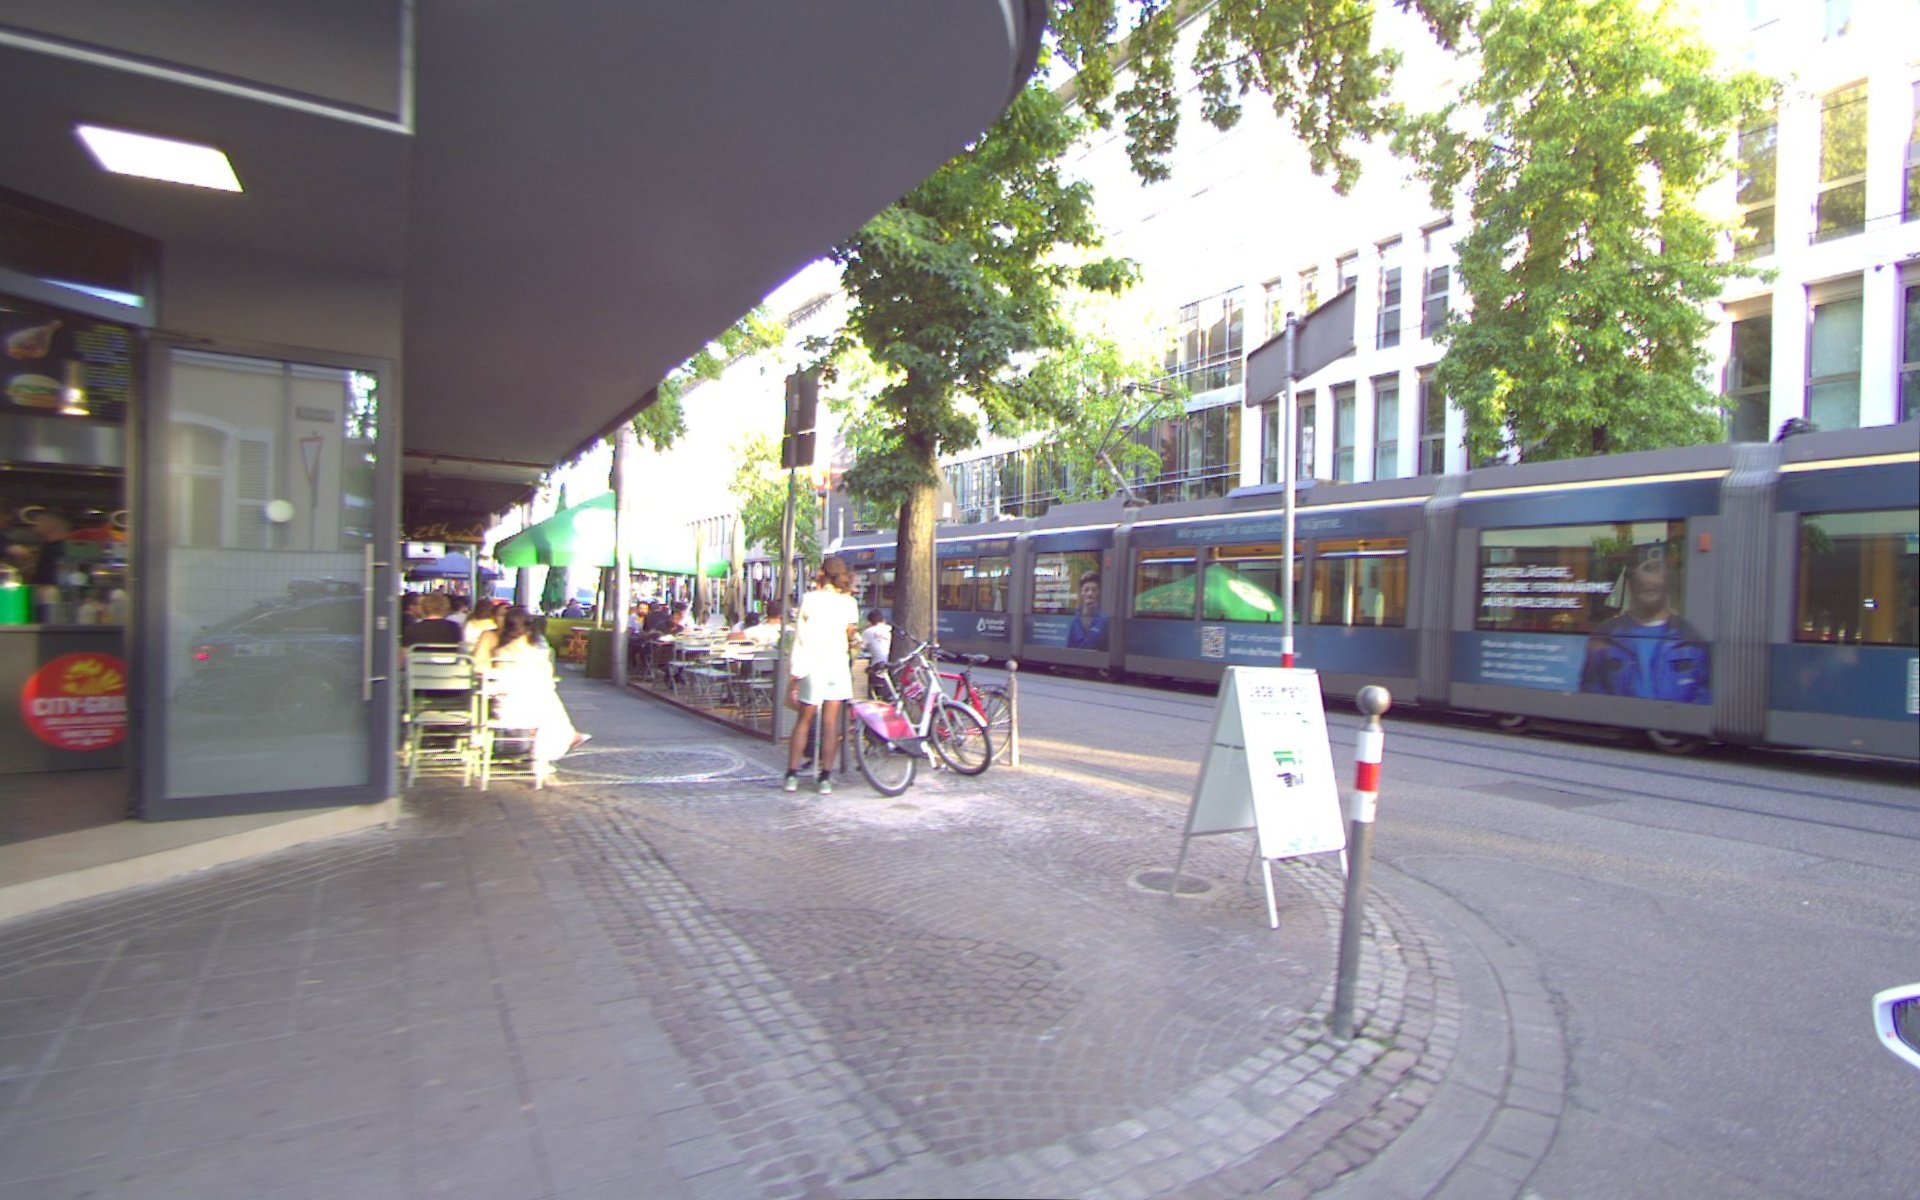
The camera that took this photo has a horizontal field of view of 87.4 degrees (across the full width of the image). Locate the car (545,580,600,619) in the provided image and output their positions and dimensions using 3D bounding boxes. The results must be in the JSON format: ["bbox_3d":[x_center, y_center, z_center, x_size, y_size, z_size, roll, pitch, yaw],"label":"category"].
[{"bbox_3d":[-21.225,-0.043,54.917,1.977,2.003,4.809,1,0,-31],"label":"car"}]

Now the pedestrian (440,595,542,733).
[{"bbox_3d":[-4.819,0.635,10.320,0.877,1.337,0.875,2,-1,-27],"label":"pedestrian"}]

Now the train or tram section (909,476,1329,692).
[{"bbox_3d":[2.678,-0.244,22.023,2.978,3.570,10.757,2,-1,-30],"label":"train or tram section"}]

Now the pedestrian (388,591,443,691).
[{"bbox_3d":[-7.842,0.586,14.468,0.649,1.396,0.759,2,-1,-30],"label":"pedestrian"}]

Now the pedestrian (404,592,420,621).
[{"bbox_3d":[-24.575,0.287,45.033,0.507,1.258,0.655,5,-2,-30],"label":"pedestrian"}]

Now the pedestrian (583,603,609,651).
[{"bbox_3d":[-9.888,0.736,27.266,0.546,1.283,0.636,2,-1,-30],"label":"pedestrian"}]

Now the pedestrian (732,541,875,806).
[{"bbox_3d":[-1.108,0.496,7.190,0.630,1.764,0.780,1,-1,29],"label":"pedestrian"}]

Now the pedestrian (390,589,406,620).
[{"bbox_3d":[-26.213,0.200,46.860,0.438,1.391,0.603,4,-2,-21],"label":"pedestrian"}]

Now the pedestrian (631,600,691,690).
[{"bbox_3d":[-4.757,0.700,15.947,0.709,1.380,0.918,2,-1,-28],"label":"pedestrian"}]

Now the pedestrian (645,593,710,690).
[{"bbox_3d":[-4.203,0.605,14.912,0.709,1.380,1.004,2,-1,-28],"label":"pedestrian"}]

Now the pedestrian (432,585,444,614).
[{"bbox_3d":[-26.595,0.000,51.170,0.505,1.452,0.607,3,-1,-28],"label":"pedestrian"}]

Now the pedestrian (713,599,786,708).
[{"bbox_3d":[-2.800,0.695,13.325,0.709,1.380,0.865,2,-1,-28],"label":"pedestrian"}]

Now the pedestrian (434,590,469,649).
[{"bbox_3d":[-11.923,0.453,23.548,0.649,1.348,0.759,2,-1,-30],"label":"pedestrian"}]

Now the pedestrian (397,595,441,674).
[{"bbox_3d":[-9.850,0.623,18.282,0.649,1.396,0.759,2,-1,-30],"label":"pedestrian"}]

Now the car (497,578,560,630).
[{"bbox_3d":[-16.811,0.189,39.048,1.778,1.842,4.482,3,-2,-28],"label":"car"}]

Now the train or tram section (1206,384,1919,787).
[{"bbox_3d":[7.941,-0.096,12.848,2.982,3.570,10.318,2,-1,-30],"label":"train or tram section"}]

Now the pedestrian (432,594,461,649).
[{"bbox_3d":[-13.235,0.553,25.895,0.600,1.396,0.643,2,-1,-30],"label":"pedestrian"}]

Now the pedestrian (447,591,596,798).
[{"bbox_3d":[-3.107,0.631,7.091,0.877,1.337,0.875,2,-1,-27],"label":"pedestrian"}]

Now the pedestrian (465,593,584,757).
[{"bbox_3d":[-3.824,0.628,8.798,0.877,1.337,0.875,2,-1,-27],"label":"pedestrian"}]

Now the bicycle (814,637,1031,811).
[{"bbox_3d":[-0.230,0.879,7.809,0.767,1.154,1.863,1,-1,32],"label":"bicycle"}]

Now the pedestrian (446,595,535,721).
[{"bbox_3d":[-5.273,0.636,11.284,0.839,1.337,0.876,2,-1,-26],"label":"pedestrian"}]

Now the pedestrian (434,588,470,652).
[{"bbox_3d":[-11.407,0.447,22.563,0.649,1.396,0.759,2,-1,-30],"label":"pedestrian"}]

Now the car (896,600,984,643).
[{"bbox_3d":[-0.749,0.855,41.923,1.842,1.584,4.338,0,1,27],"label":"car"}]

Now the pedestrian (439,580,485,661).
[{"bbox_3d":[-8.809,0.367,17.772,0.649,1.396,0.759,2,-1,-30],"label":"pedestrian"}]

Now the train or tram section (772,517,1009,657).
[{"bbox_3d":[-2.606,-0.300,31.220,3.019,3.570,10.446,3,-1,-30],"label":"train or tram section"}]

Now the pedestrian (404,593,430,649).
[{"bbox_3d":[-13.860,0.542,25.617,0.533,1.396,0.674,2,-1,-30],"label":"pedestrian"}]

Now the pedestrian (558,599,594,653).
[{"bbox_3d":[-9.299,0.622,24.307,0.702,1.281,0.595,2,-1,-30],"label":"pedestrian"}]

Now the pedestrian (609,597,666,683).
[{"bbox_3d":[-5.390,0.649,16.764,0.709,1.380,1.004,2,-1,-28],"label":"pedestrian"}]

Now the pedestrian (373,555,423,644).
[{"bbox_3d":[-11.645,0.003,20.799,0.754,1.789,0.653,0,-1,41],"label":"pedestrian"}]

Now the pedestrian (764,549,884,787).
[{"bbox_3d":[-1.060,0.512,7.942,0.629,1.764,0.782,1,-1,18],"label":"pedestrian"}]

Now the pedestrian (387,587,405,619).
[{"bbox_3d":[-25.892,0.140,46.121,0.604,1.452,0.508,5,-2,-28],"label":"pedestrian"}]

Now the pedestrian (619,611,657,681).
[{"bbox_3d":[-5.798,0.825,18.084,0.538,1.235,0.507,2,-1,-28],"label":"pedestrian"}]

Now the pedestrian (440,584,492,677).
[{"bbox_3d":[-7.706,0.475,15.659,0.649,1.396,0.759,2,-1,-30],"label":"pedestrian"}]

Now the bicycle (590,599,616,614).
[{"bbox_3d":[-36.240,0.685,102.064,2.312,1.491,0.783,2,-1,-34],"label":"bicycle"}]

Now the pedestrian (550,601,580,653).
[{"bbox_3d":[-10.563,0.719,26.858,0.638,1.363,0.725,2,-1,-29],"label":"pedestrian"}]

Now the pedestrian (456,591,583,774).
[{"bbox_3d":[-3.480,0.621,7.918,0.839,1.337,0.876,2,-1,-26],"label":"pedestrian"}]

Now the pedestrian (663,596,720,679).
[{"bbox_3d":[-4.622,0.635,17.263,0.709,1.380,1.004,2,-1,-28],"label":"pedestrian"}]

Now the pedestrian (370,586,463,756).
[{"bbox_3d":[-4.539,0.574,8.425,0.616,1.337,0.836,2,-1,-27],"label":"pedestrian"}]

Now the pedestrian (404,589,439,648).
[{"bbox_3d":[-13.182,0.450,24.588,0.684,1.396,0.759,2,-1,-30],"label":"pedestrian"}]

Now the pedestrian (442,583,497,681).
[{"bbox_3d":[-7.261,0.474,14.860,0.649,1.396,0.759,2,-1,-30],"label":"pedestrian"}]

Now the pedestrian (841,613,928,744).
[{"bbox_3d":[-0.853,0.849,11.229,0.687,1.395,0.787,2,-1,-28],"label":"pedestrian"}]

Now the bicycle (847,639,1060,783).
[{"bbox_3d":[-0.026,0.945,8.952,1.847,1.154,0.621,2,-1,-34],"label":"bicycle"}]

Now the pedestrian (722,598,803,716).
[{"bbox_3d":[-2.430,0.680,12.309,0.709,1.380,0.918,2,-1,-28],"label":"pedestrian"}]
